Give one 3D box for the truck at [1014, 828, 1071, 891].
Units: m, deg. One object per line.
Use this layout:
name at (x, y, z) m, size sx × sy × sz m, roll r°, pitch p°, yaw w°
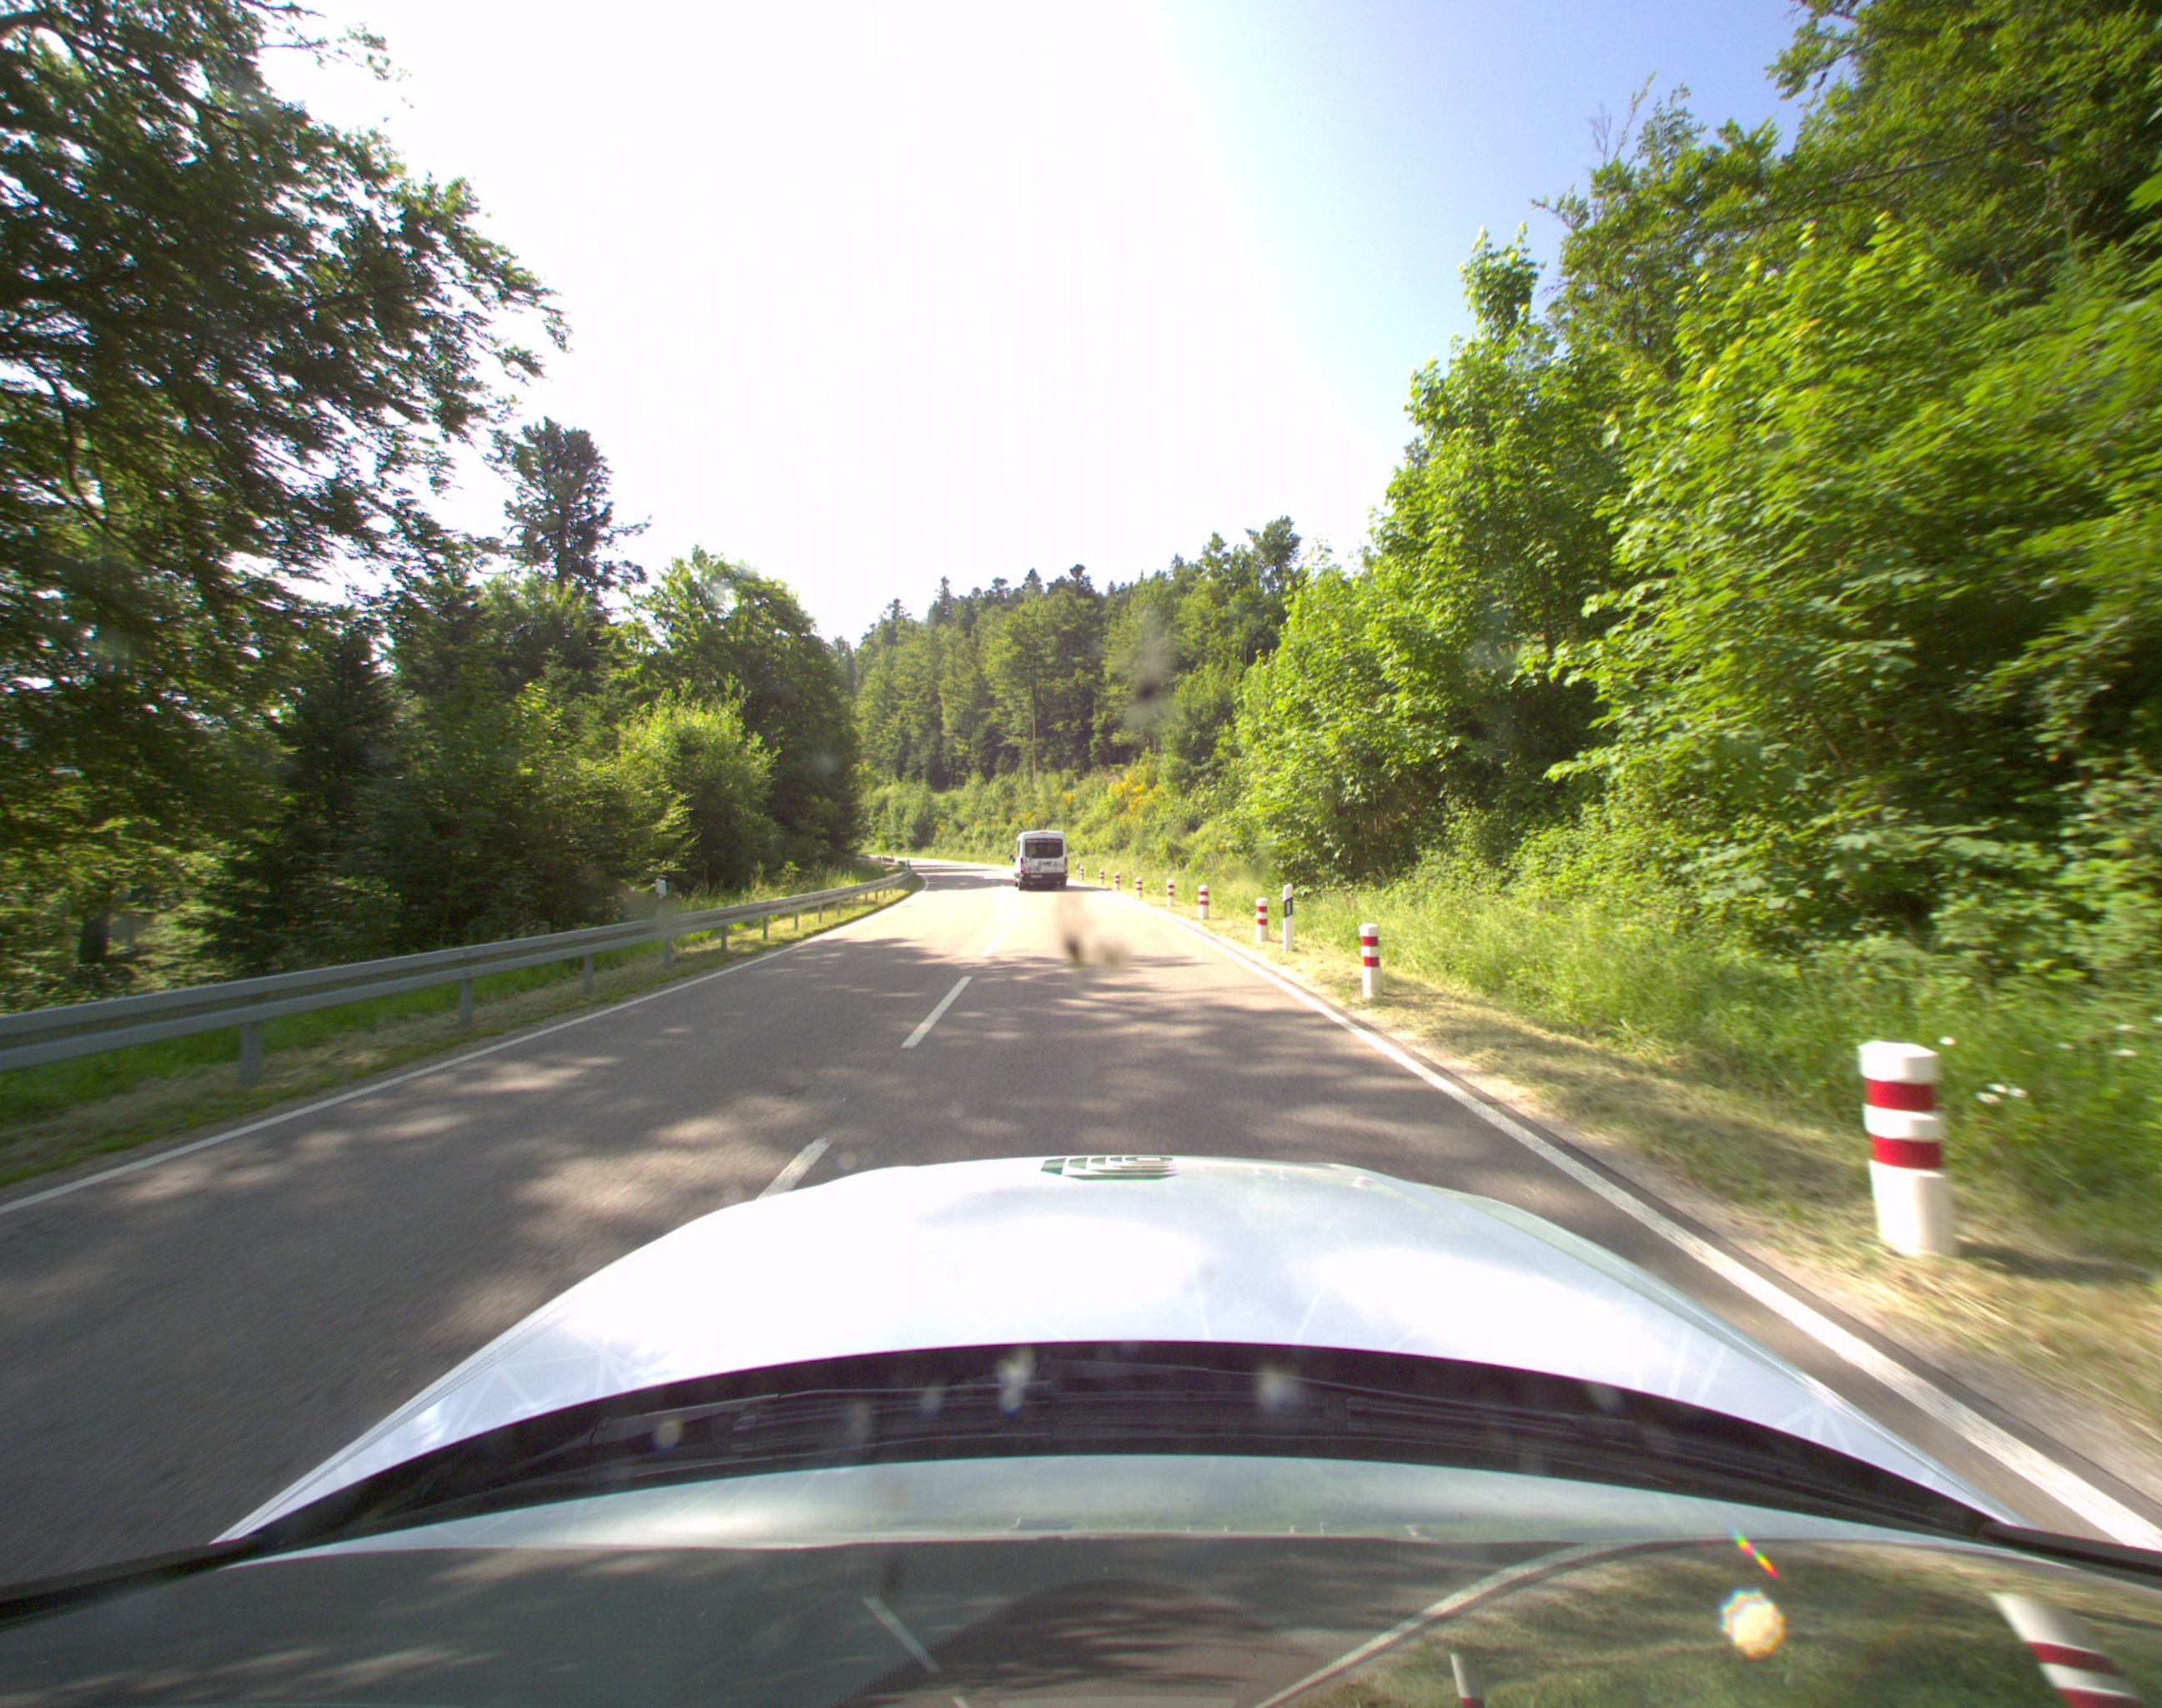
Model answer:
truck at (-1.780, 0.187, 35.697) m, size 2.113 × 2.498 × 5.347 m, roll -1°, pitch 1°, yaw -7°
